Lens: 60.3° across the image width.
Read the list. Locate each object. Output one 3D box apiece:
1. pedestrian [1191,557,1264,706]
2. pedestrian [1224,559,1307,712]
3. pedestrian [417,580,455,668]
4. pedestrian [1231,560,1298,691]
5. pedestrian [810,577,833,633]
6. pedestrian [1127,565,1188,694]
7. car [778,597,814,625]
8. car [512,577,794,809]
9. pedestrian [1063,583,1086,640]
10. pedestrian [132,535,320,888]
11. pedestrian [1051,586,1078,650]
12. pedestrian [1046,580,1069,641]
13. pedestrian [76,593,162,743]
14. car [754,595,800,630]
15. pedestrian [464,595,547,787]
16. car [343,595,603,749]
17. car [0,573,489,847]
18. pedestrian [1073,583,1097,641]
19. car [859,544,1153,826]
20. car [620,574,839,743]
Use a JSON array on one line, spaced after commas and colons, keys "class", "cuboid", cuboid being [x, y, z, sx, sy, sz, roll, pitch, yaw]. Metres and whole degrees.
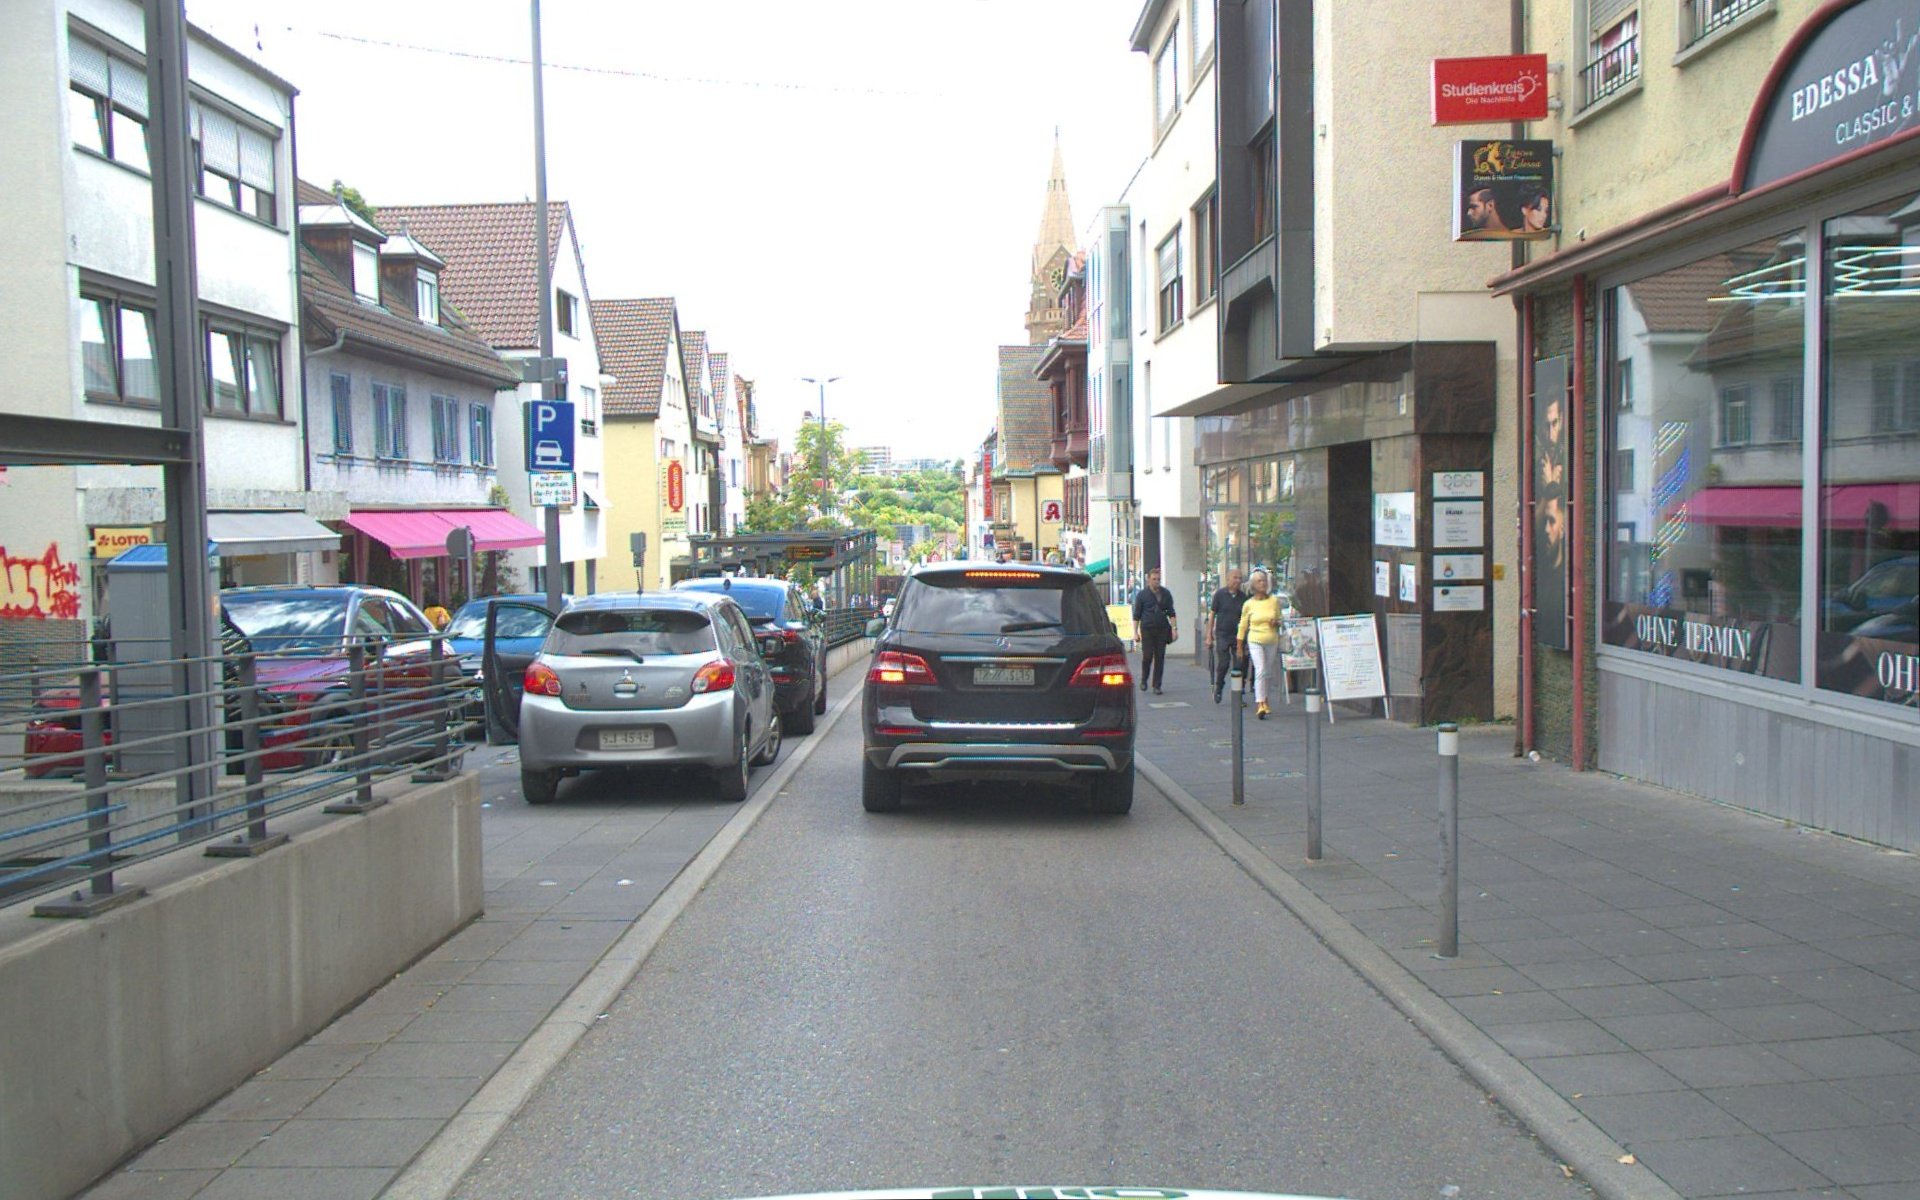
[{"class": "pedestrian", "cuboid": [3.307, 0.383, 20.507, 0.697, 1.784, 0.785, -3, 0, -1]}, {"class": "pedestrian", "cuboid": [3.451, 0.389, 18.734, 0.696, 1.659, 0.835, -3, 0, -1]}, {"class": "pedestrian", "cuboid": [-10.390, 0.473, 32.827, 0.566, 1.718, 0.576, 0, 0, -2]}, {"class": "pedestrian", "cuboid": [4.143, 0.337, 22.497, 0.650, 1.718, 0.542, -4, 0, -7]}, {"class": "pedestrian", "cuboid": [-4.294, 0.145, 51.297, 0.599, 1.718, 0.563, 1, 0, 4]}, {"class": "pedestrian", "cuboid": [2.830, 0.415, 23.764, 0.697, 1.784, 0.787, -3, 0, -1]}, {"class": "car", "cuboid": [-9.082, 0.591, 91.900, 1.627, 1.516, 3.747, 1, 0, -1]}, {"class": "car", "cuboid": [-2.270, 0.630, 13.076, 1.587, 1.559, 3.669, 1, 0, -1]}, {"class": "pedestrian", "cuboid": [3.489, 0.352, 50.450, 0.562, 1.718, 0.565, 1, 0, -7]}, {"class": "pedestrian", "cuboid": [-3.714, 0.533, 8.427, 0.522, 1.701, 0.901, 0, 1, 2]}, {"class": "pedestrian", "cuboid": [2.834, 0.496, 45.001, 0.609, 1.718, 0.565, 1, 0, -7]}, {"class": "pedestrian", "cuboid": [2.835, 0.297, 48.048, 0.532, 1.756, 0.527, -1, 0, -7]}, {"class": "pedestrian", "cuboid": [-9.906, 0.782, 19.480, 0.634, 1.718, 0.663, -1, 1, 39]}, {"class": "car", "cuboid": [-8.249, 0.546, 74.776, 1.655, 1.516, 3.978, 1, 0, -1]}, {"class": "pedestrian", "cuboid": [-3.570, 0.699, 13.006, 0.457, 1.456, 0.492, -3, 0, -1]}, {"class": "car", "cuboid": [-5.219, 0.706, 18.243, 1.703, 1.501, 3.884, 1, 0, 0]}, {"class": "car", "cuboid": [-4.754, 0.637, 11.688, 1.703, 1.570, 4.192, 1, 0, -1]}, {"class": "pedestrian", "cuboid": [3.748, 0.354, 49.500, 0.562, 1.718, 0.565, -2, 0, -7]}, {"class": "car", "cuboid": [0.209, 0.546, 12.545, 1.862, 1.777, 3.998, 1, 0, -3]}, {"class": "car", "cuboid": [-2.461, 0.587, 18.701, 1.917, 1.668, 4.313, 1, 0, -1]}]
